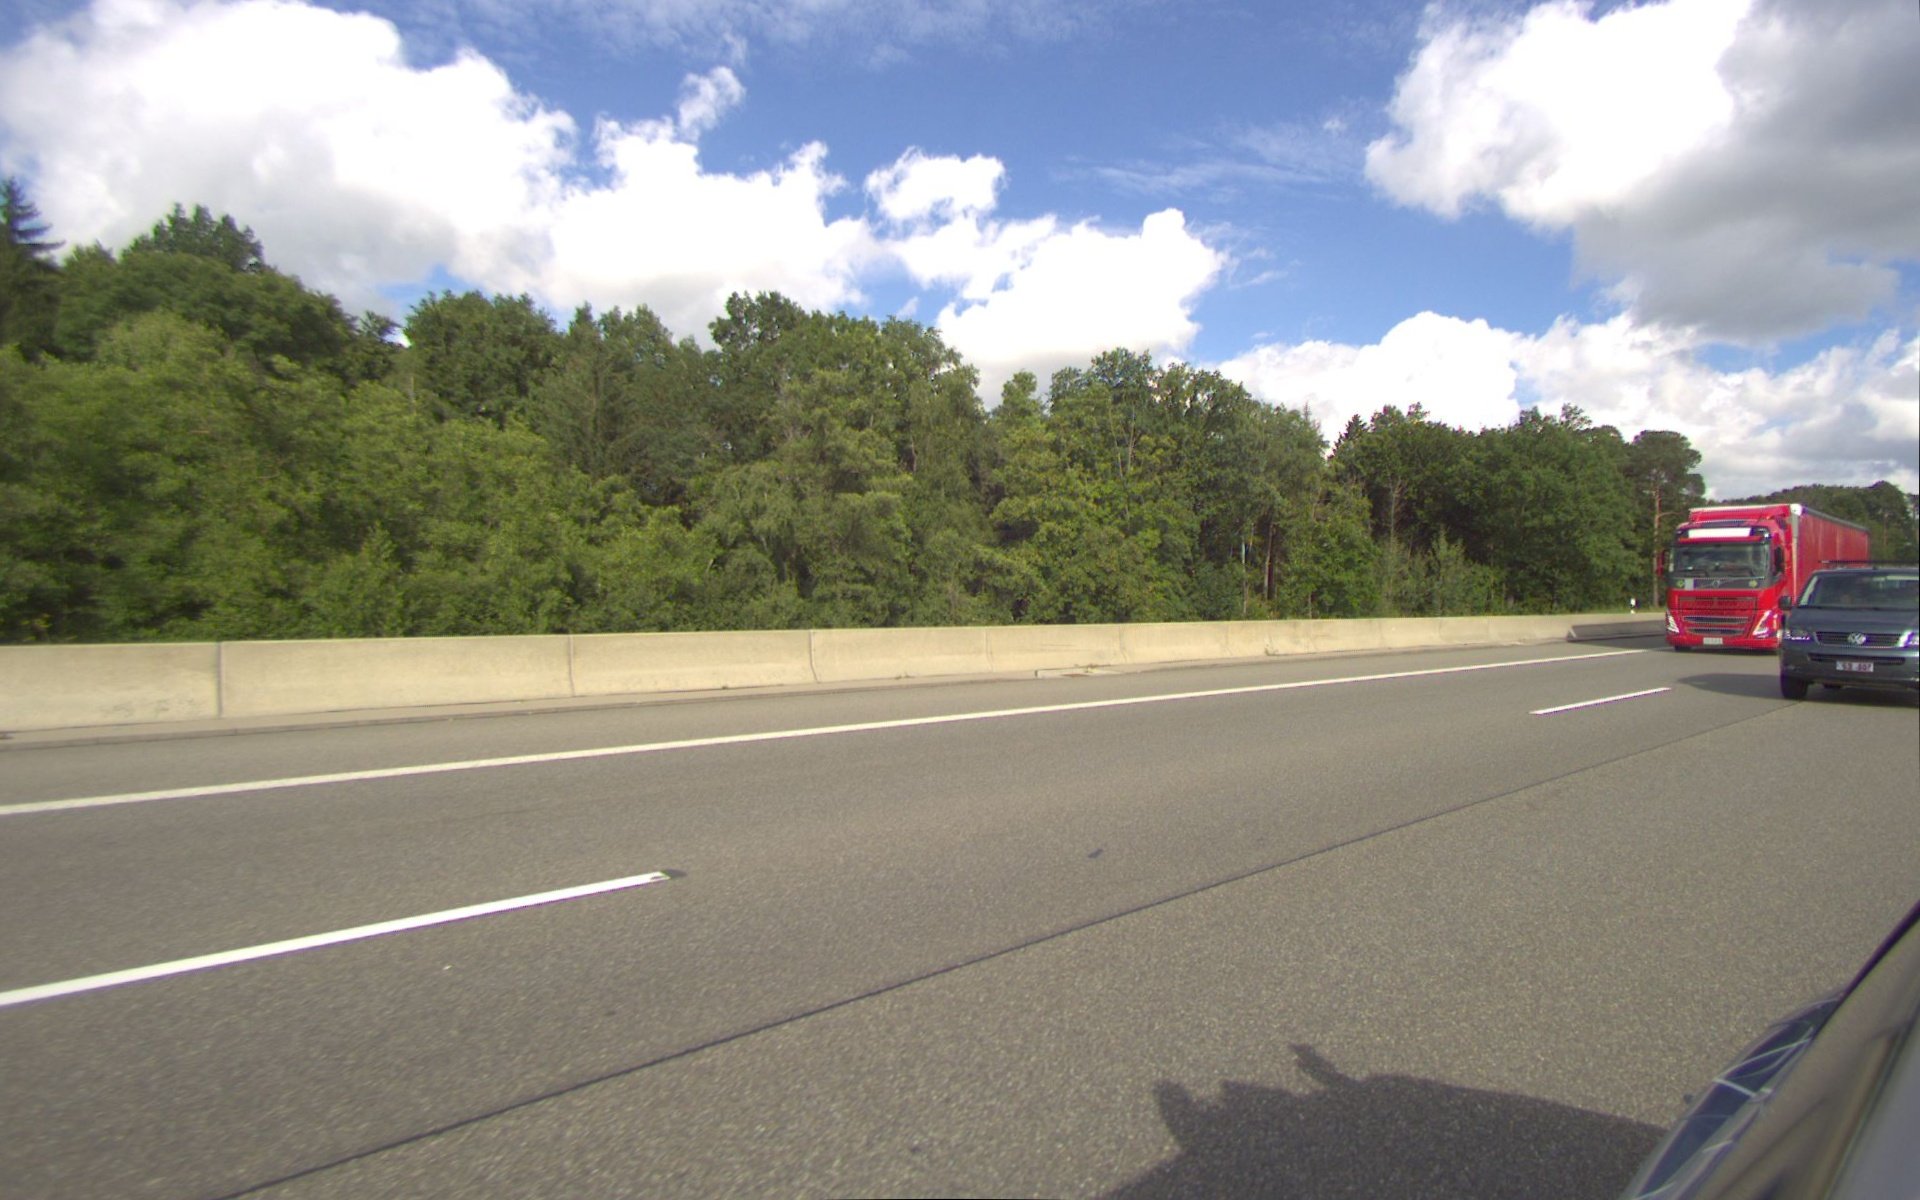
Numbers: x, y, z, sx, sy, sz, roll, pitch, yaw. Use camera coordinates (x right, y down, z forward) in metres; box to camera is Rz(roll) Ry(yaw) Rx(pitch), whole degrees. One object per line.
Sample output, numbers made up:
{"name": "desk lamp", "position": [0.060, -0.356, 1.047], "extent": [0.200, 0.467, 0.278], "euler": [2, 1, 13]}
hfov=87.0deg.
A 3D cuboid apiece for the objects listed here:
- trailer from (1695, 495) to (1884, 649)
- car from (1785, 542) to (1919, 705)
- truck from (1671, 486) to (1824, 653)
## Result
{"name": "trailer", "position": [27.510, -0.822, 33.138], "extent": [14.128, 4.171, 2.529], "euler": [0, 1, -41]}
{"name": "car", "position": [14.418, 0.321, 15.581], "extent": [4.875, 2.193, 1.925], "euler": [1, 1, -42]}
{"name": "truck", "position": [22.095, -0.814, 28.348], "extent": [4.572, 4.255, 2.530], "euler": [0, 1, -41]}
